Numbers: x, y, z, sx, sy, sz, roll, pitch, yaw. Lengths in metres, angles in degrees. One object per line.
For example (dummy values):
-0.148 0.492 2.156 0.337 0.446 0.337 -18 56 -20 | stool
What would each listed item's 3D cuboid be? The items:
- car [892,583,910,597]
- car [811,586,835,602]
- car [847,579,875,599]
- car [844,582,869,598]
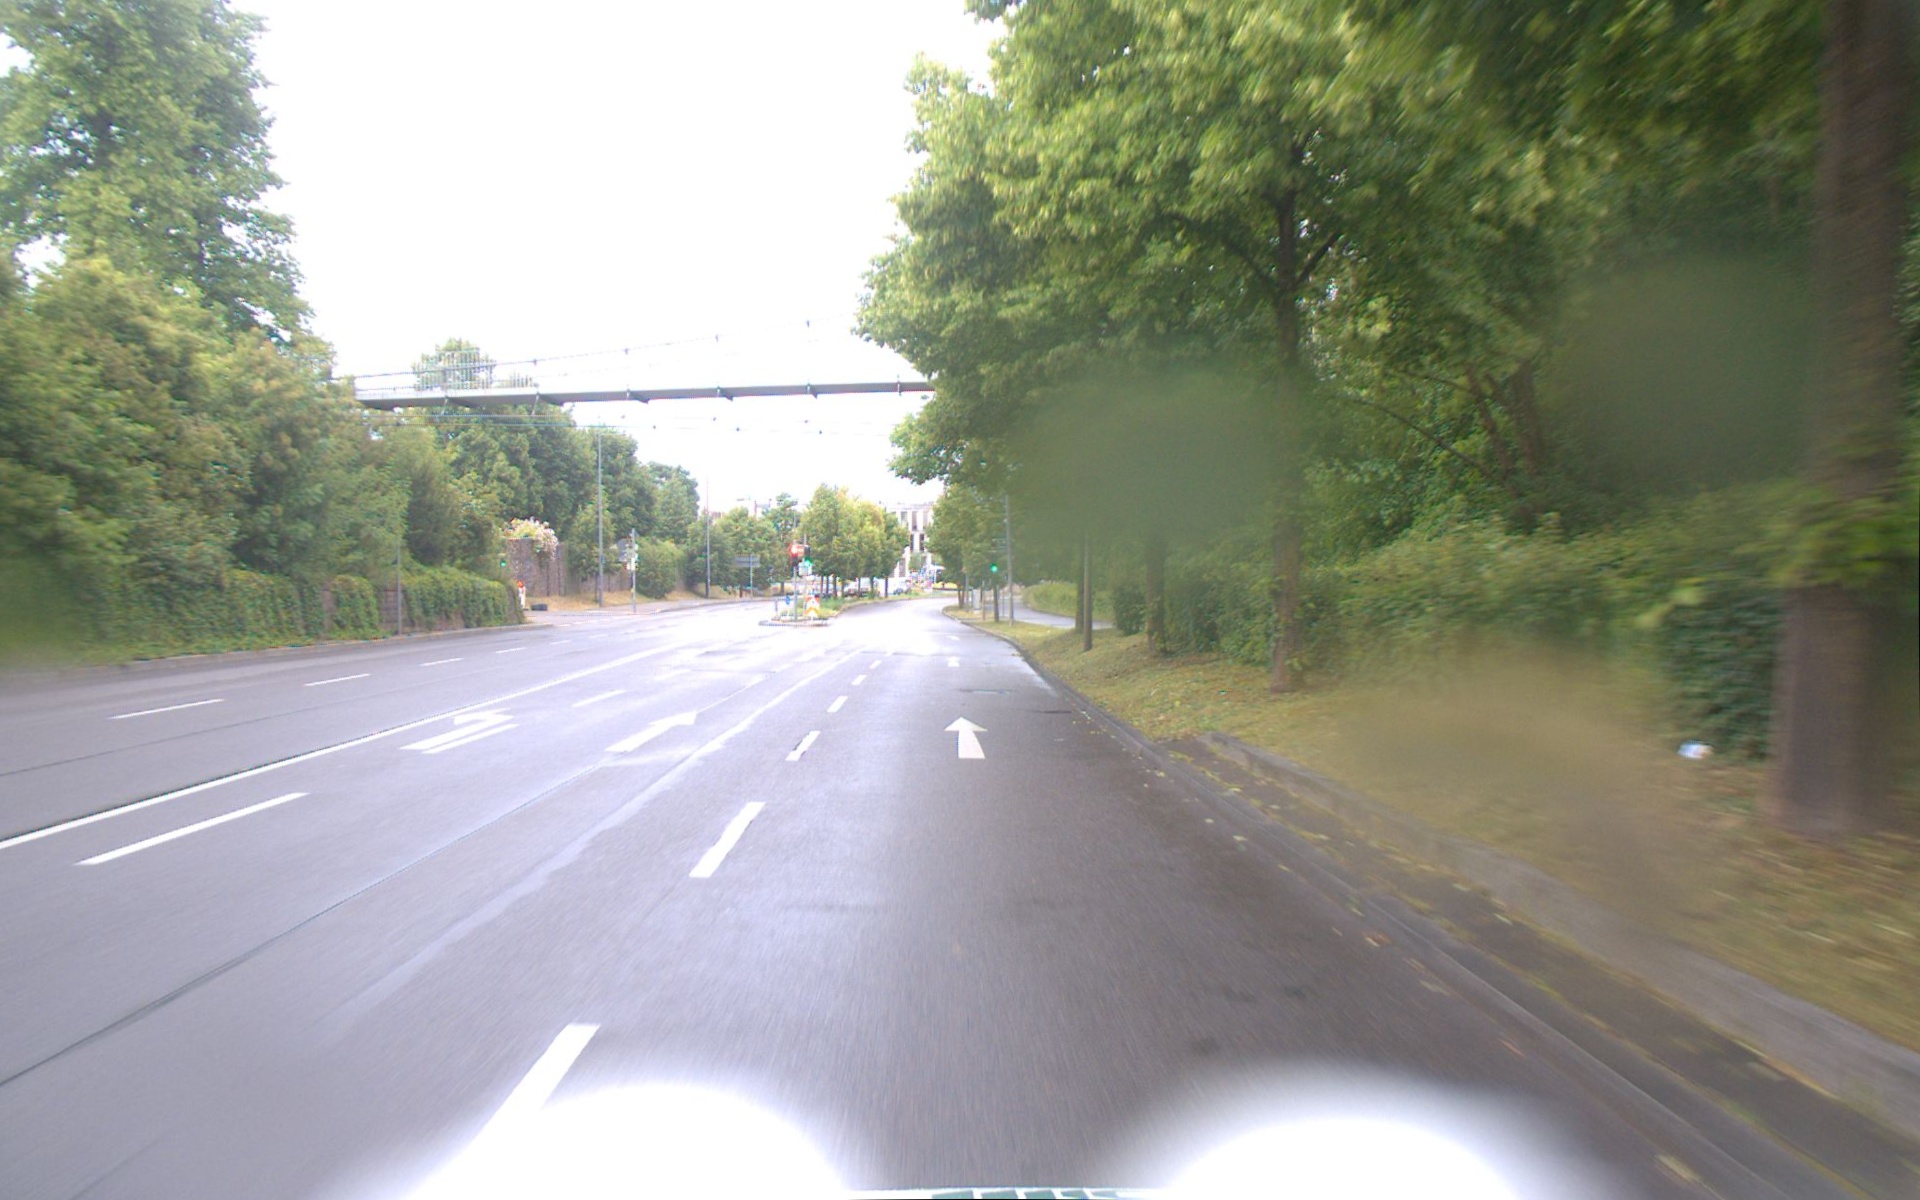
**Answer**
-7.057 -1.193 198.447 1.650 1.566 2.919 1 2 8 | car
-13.379 -0.628 161.307 1.564 1.515 4.003 0 1 7 | car
-10.027 -1.144 168.038 1.971 1.952 5.099 0 1 7 | car
-11.072 -1.075 176.890 1.841 1.623 4.770 1 0 7 | car
